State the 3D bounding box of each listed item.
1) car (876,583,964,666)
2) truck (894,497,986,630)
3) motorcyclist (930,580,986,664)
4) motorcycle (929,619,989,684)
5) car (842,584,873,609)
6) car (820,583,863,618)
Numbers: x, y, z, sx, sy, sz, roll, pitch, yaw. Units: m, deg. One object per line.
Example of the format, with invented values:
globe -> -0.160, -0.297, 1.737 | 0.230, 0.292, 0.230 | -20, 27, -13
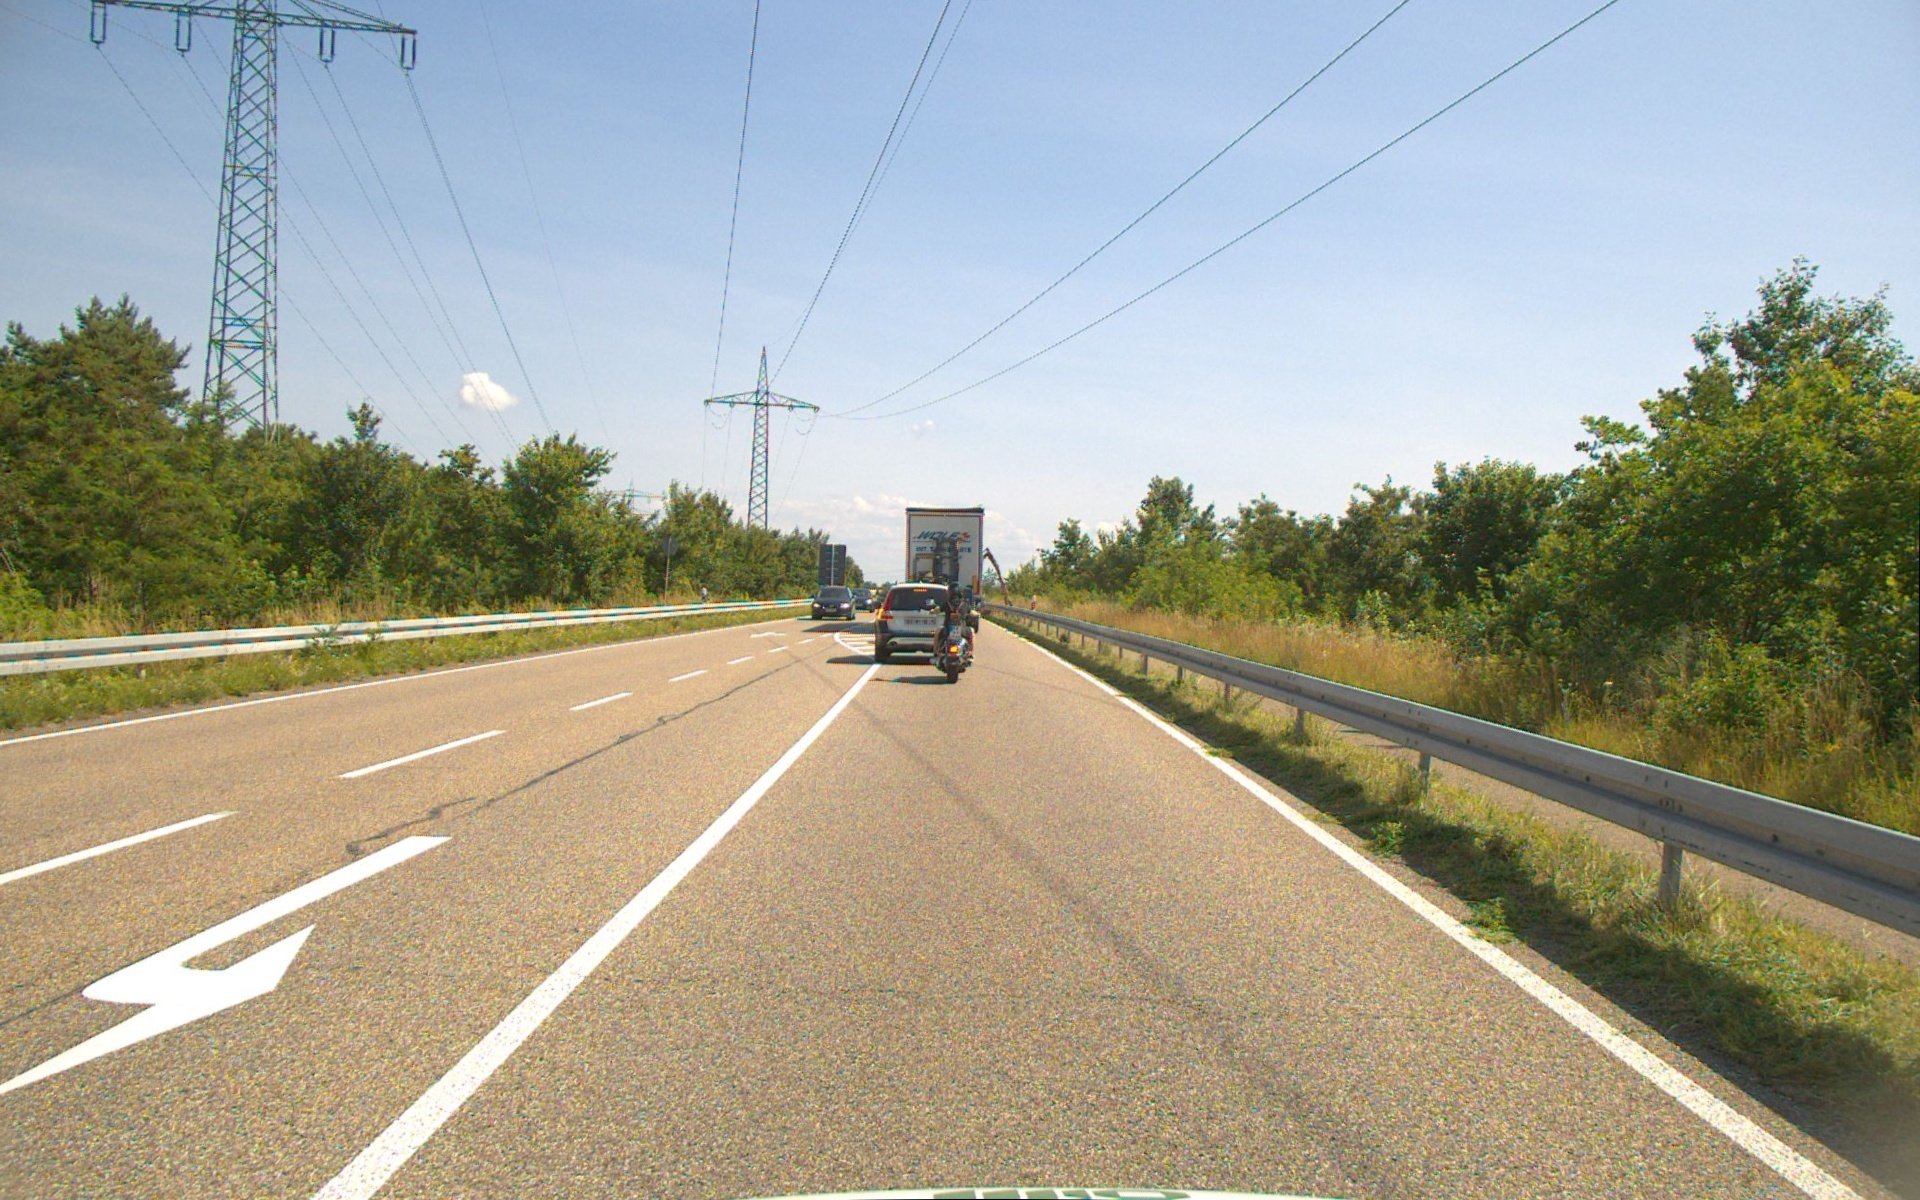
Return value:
car -> -0.785, 0.464, 33.447 | 1.666, 1.563, 3.498 | 1, 0, -1
truck -> -0.604, -1.234, 61.068 | 2.907, 4.260, 14.822 | 1, 0, 0
motorcyclist -> -0.041, 0.347, 26.356 | 0.820, 1.303, 0.919 | 1, 0, -3
motorcycle -> -0.037, 0.799, 26.275 | 0.841, 0.931, 2.226 | 1, 0, -3
car -> -6.278, -0.230, 101.645 | 1.626, 1.467, 4.214 | 1, 0, 0
car -> -5.367, -0.009, 75.067 | 1.692, 1.517, 4.422 | 1, 0, -1
